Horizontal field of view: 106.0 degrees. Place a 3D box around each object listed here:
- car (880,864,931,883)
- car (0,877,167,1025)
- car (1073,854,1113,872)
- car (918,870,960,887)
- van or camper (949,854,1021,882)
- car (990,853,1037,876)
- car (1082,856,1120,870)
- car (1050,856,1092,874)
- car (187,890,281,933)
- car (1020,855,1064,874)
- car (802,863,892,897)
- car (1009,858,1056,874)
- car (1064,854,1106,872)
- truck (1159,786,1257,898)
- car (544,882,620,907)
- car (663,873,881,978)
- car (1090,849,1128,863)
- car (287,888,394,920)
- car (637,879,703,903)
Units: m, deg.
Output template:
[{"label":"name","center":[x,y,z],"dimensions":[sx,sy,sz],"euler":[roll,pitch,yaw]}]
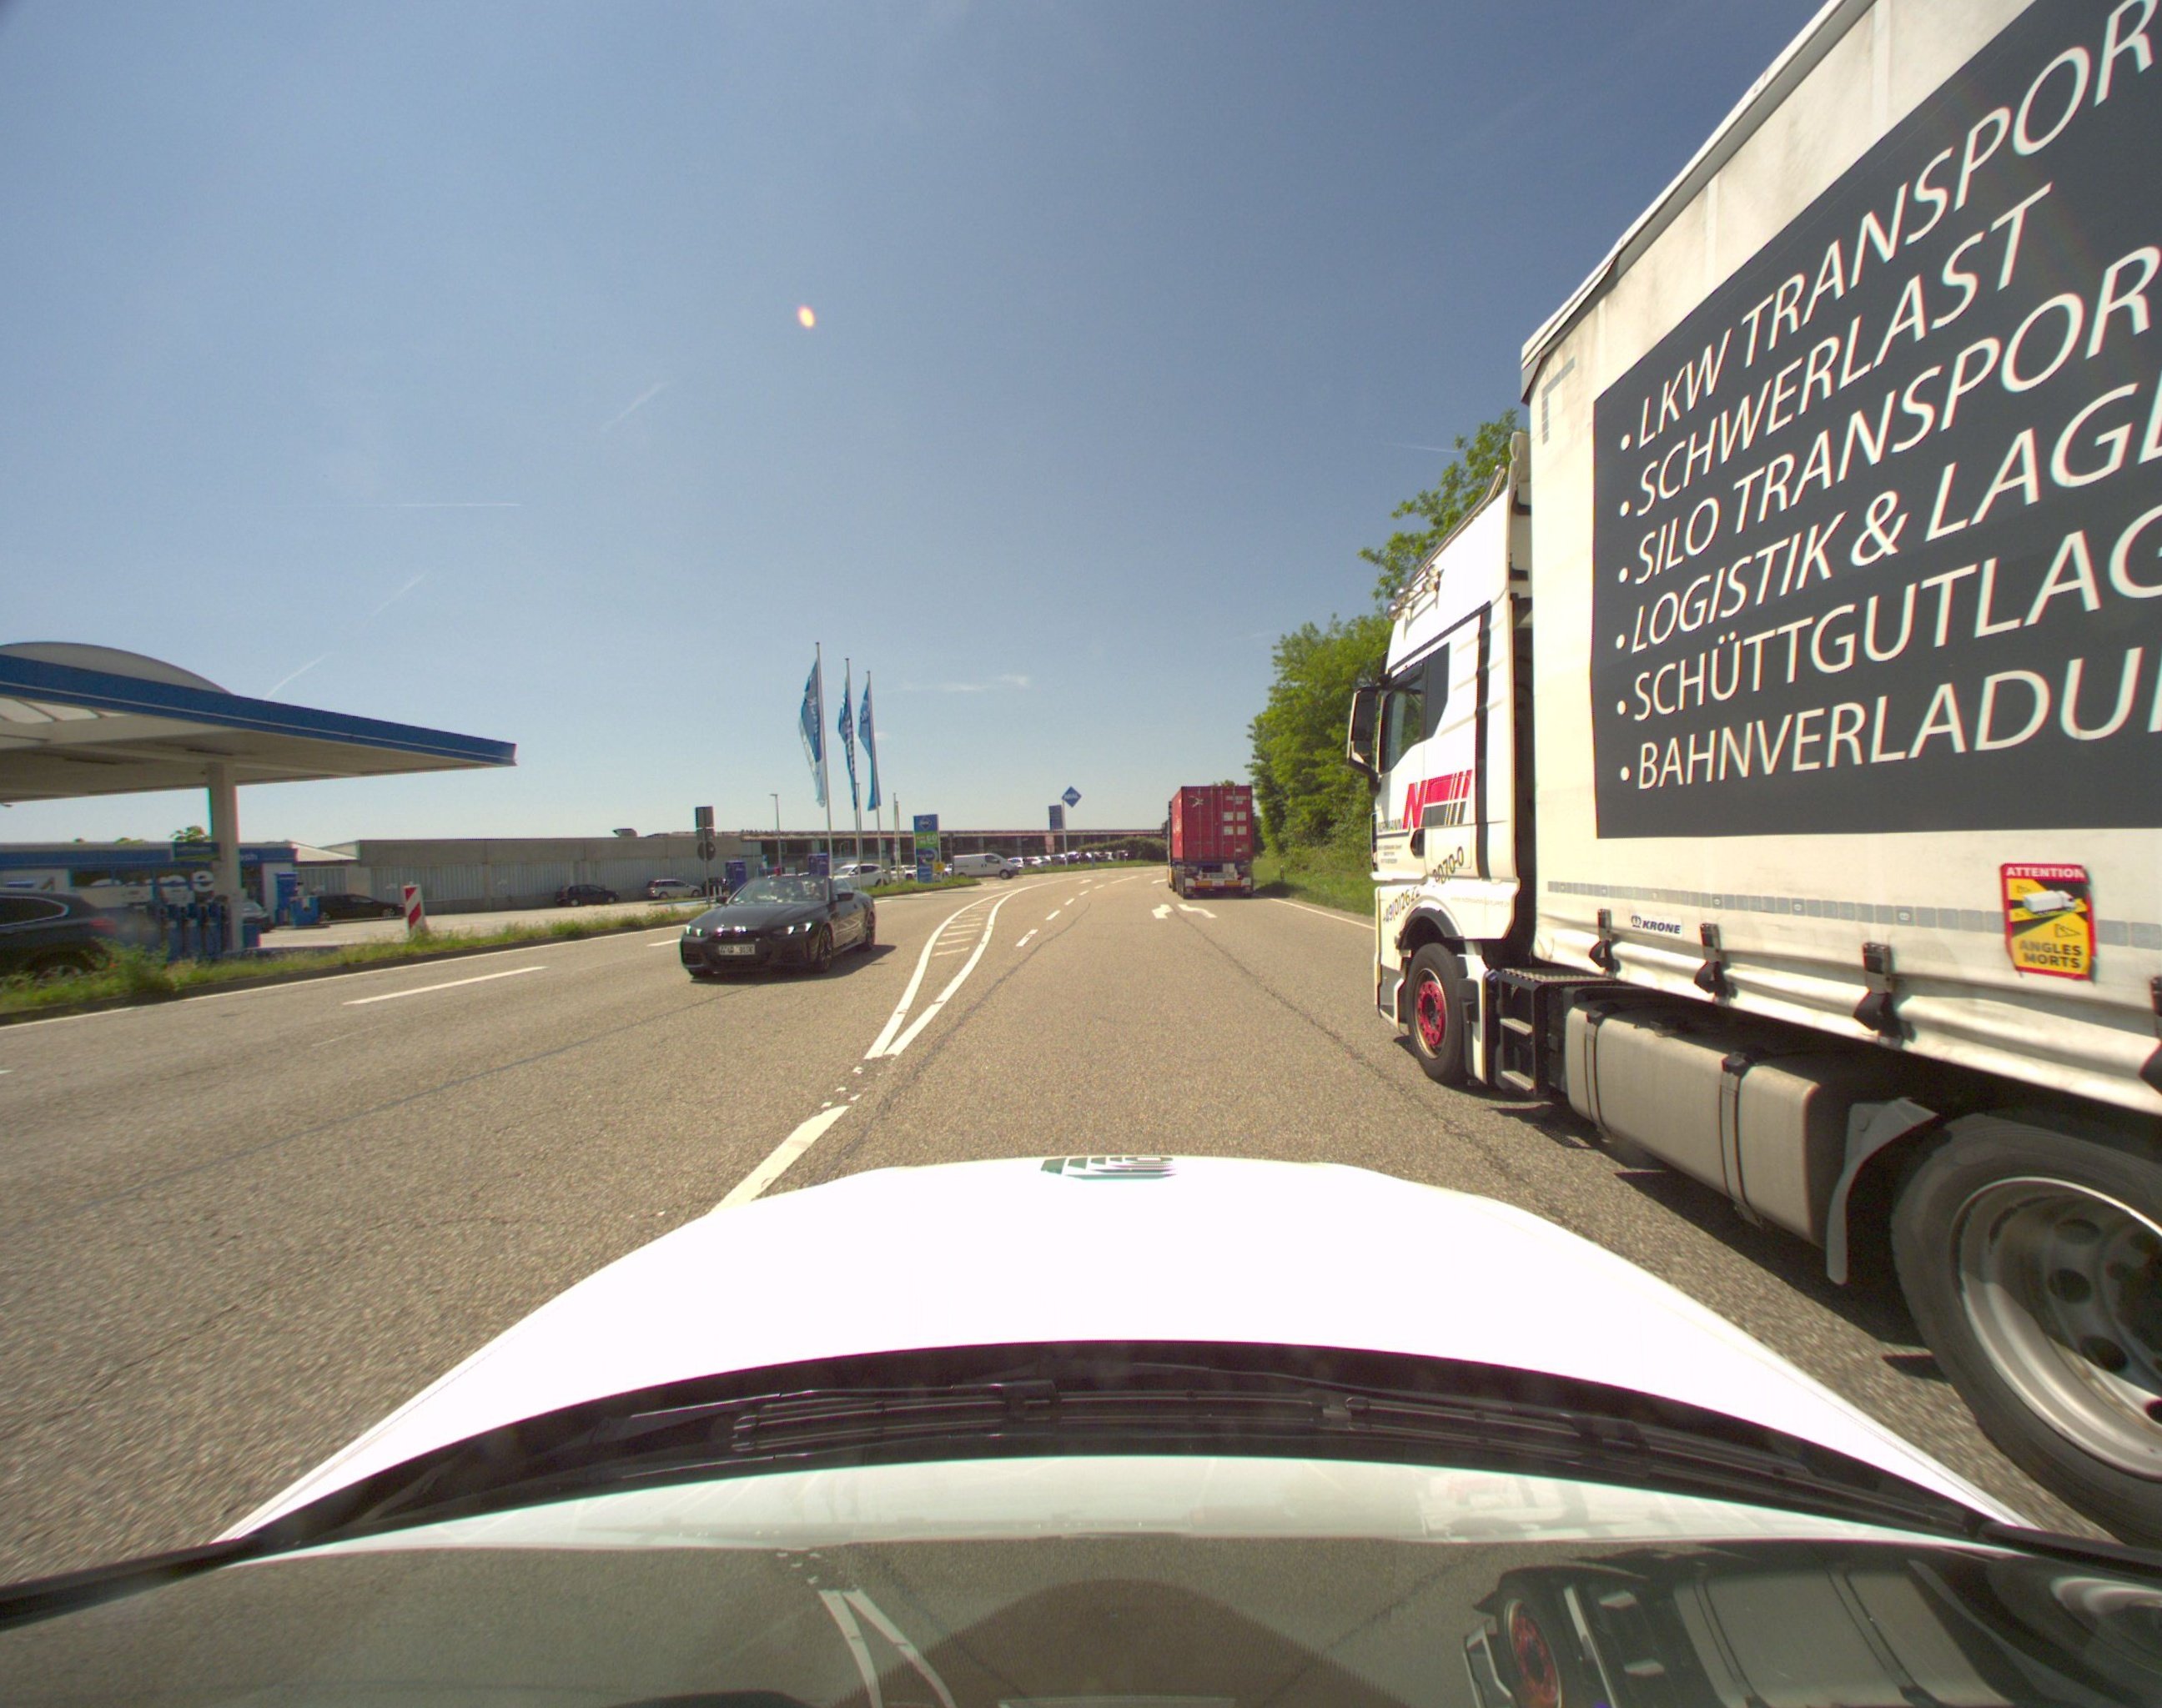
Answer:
[{"label":"car","center":[-17.026,1.858,78.933],"dimensions":[4.535,1.503,2.012],"euler":[-4,-1,28]},{"label":"car","center":[-13.770,1.207,9.081],"dimensions":[1.821,1.719,4.573],"euler":[-2,0,3]},{"label":"car","center":[1.323,1.027,91.514],"dimensions":[3.948,1.750,2.013],"euler":[-4,-1,30]},{"label":"car","center":[-14.495,2.523,82.988],"dimensions":[3.949,1.582,1.829],"euler":[-3,-1,30]},{"label":"van or camper","center":[-6.939,1.024,58.953],"dimensions":[4.825,1.905,1.907],"euler":[-2,-1,4]},{"label":"car","center":[-6.471,0.999,78.048],"dimensions":[3.949,2.013,2.012],"euler":[-3,-1,29]},{"label":"car","center":[2.284,1.025,93.685],"dimensions":[3.949,1.317,1.845],"euler":[-4,-1,28]},{"label":"car","center":[-1.054,1.193,86.523],"dimensions":[3.948,1.750,2.012],"euler":[-2,-2,31]},{"label":"car","center":[-35.269,2.374,33.884],"dimensions":[3.948,1.607,1.959],"euler":[-3,-1,33]},{"label":"car","center":[-3.946,1.019,82.610],"dimensions":[3.948,1.750,1.947],"euler":[-3,-1,31]},{"label":"car","center":[-12.606,1.394,44.140],"dimensions":[1.844,1.712,4.548],"euler":[-3,-2,35]},{"label":"car","center":[-4.773,1.204,80.082],"dimensions":[4.196,1.359,2.012],"euler":[-2,-1,29]},{"label":"car","center":[0.456,0.984,88.874],"dimensions":[3.948,1.750,2.013],"euler":[-4,-1,30]},{"label":"truck","center":[4.928,-0.430,34.229],"dimensions":[2.637,3.806,13.368],"euler":[0,0,2]},{"label":"car","center":[-33.472,2.695,54.697],"dimensions":[1.737,1.442,3.925],"euler":[-3,-1,32]},{"label":"car","center":[-4.422,0.947,12.400],"dimensions":[1.844,1.271,4.172],"euler":[-1,-1,-2]},{"label":"car","center":[3.311,0.265,95.598],"dimensions":[3.949,1.362,1.831],"euler":[-4,-1,28]},{"label":"car","center":[-39.828,2.652,43.874],"dimensions":[1.737,1.442,3.925],"euler":[-3,-1,32]},{"label":"car","center":[-30.290,2.717,60.131],"dimensions":[1.737,1.442,3.925],"euler":[-3,-1,35]}]
